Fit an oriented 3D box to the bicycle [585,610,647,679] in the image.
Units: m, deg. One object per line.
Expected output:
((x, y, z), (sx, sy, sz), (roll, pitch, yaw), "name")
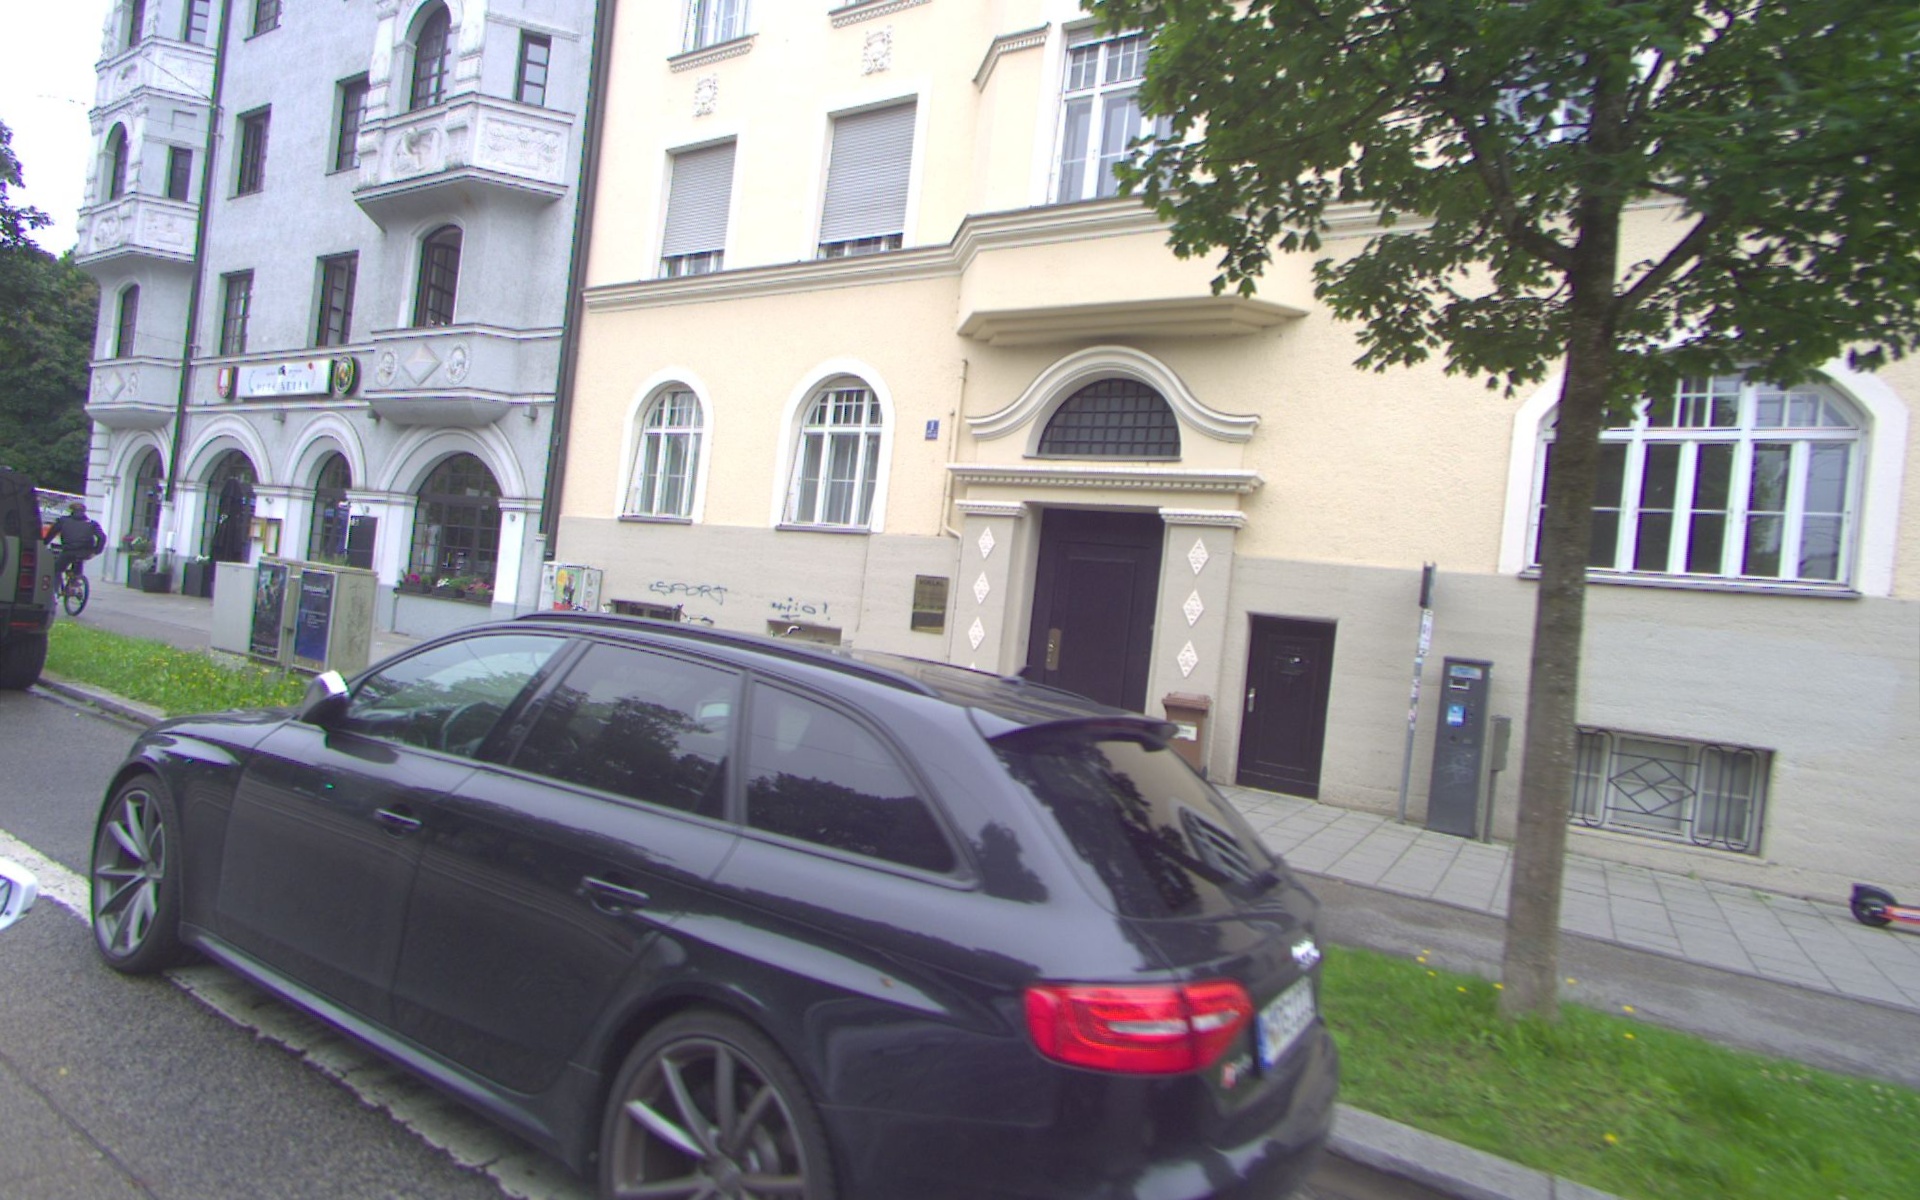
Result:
((-5.190, 0.666, 15.169), (0.871, 0.941, 0.306), (6, -2, 34), "bicycle")

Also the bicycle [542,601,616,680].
((-5.702, 0.600, 15.029), (1.203, 1.051, 0.242), (6, -2, 32), "bicycle")

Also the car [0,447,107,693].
((-9.857, -0.481, 8.860), (4.726, 1.927, 1.919), (6, -3, 30), "car")

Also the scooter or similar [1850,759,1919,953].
((7.179, 1.888, 7.173), (1.122, 1.327, 0.262), (6, -2, 28), "scooter or similar")

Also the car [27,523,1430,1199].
((-1.068, 0.704, 3.354), (4.526, 1.442, 1.720), (5, -3, 31), "car")

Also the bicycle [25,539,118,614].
((-14.805, -0.397, 16.749), (1.880, 1.092, 0.579), (6, 1, 31), "bicycle")

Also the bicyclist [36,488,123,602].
((-14.615, -0.909, 16.699), (0.714, 1.748, 0.726), (6, -2, 31), "bicyclist")

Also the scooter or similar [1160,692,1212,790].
((2.308, 1.433, 10.301), (0.413, 0.921, 0.348), (7, -2, 11), "scooter or similar")

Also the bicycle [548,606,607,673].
((-5.972, 0.605, 15.698), (0.871, 0.941, 0.291), (6, -2, 33), "bicycle")

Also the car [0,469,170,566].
((-32.726, -2.984, 36.857), (2.193, 2.641, 5.311), (6, -3, 29), "car")

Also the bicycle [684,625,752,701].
((-3.340, 0.862, 13.863), (0.871, 0.941, 0.285), (6, -2, 33), "bicycle")

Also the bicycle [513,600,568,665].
((-6.749, 0.517, 16.186), (0.871, 0.941, 0.259), (6, -2, 33), "bicycle")

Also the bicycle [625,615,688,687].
((-4.416, 0.738, 14.611), (0.871, 0.941, 0.273), (6, -2, 33), "bicycle")

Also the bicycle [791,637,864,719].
((-1.709, 0.990, 12.901), (0.871, 0.941, 0.222), (6, -2, 31), "bicycle")
